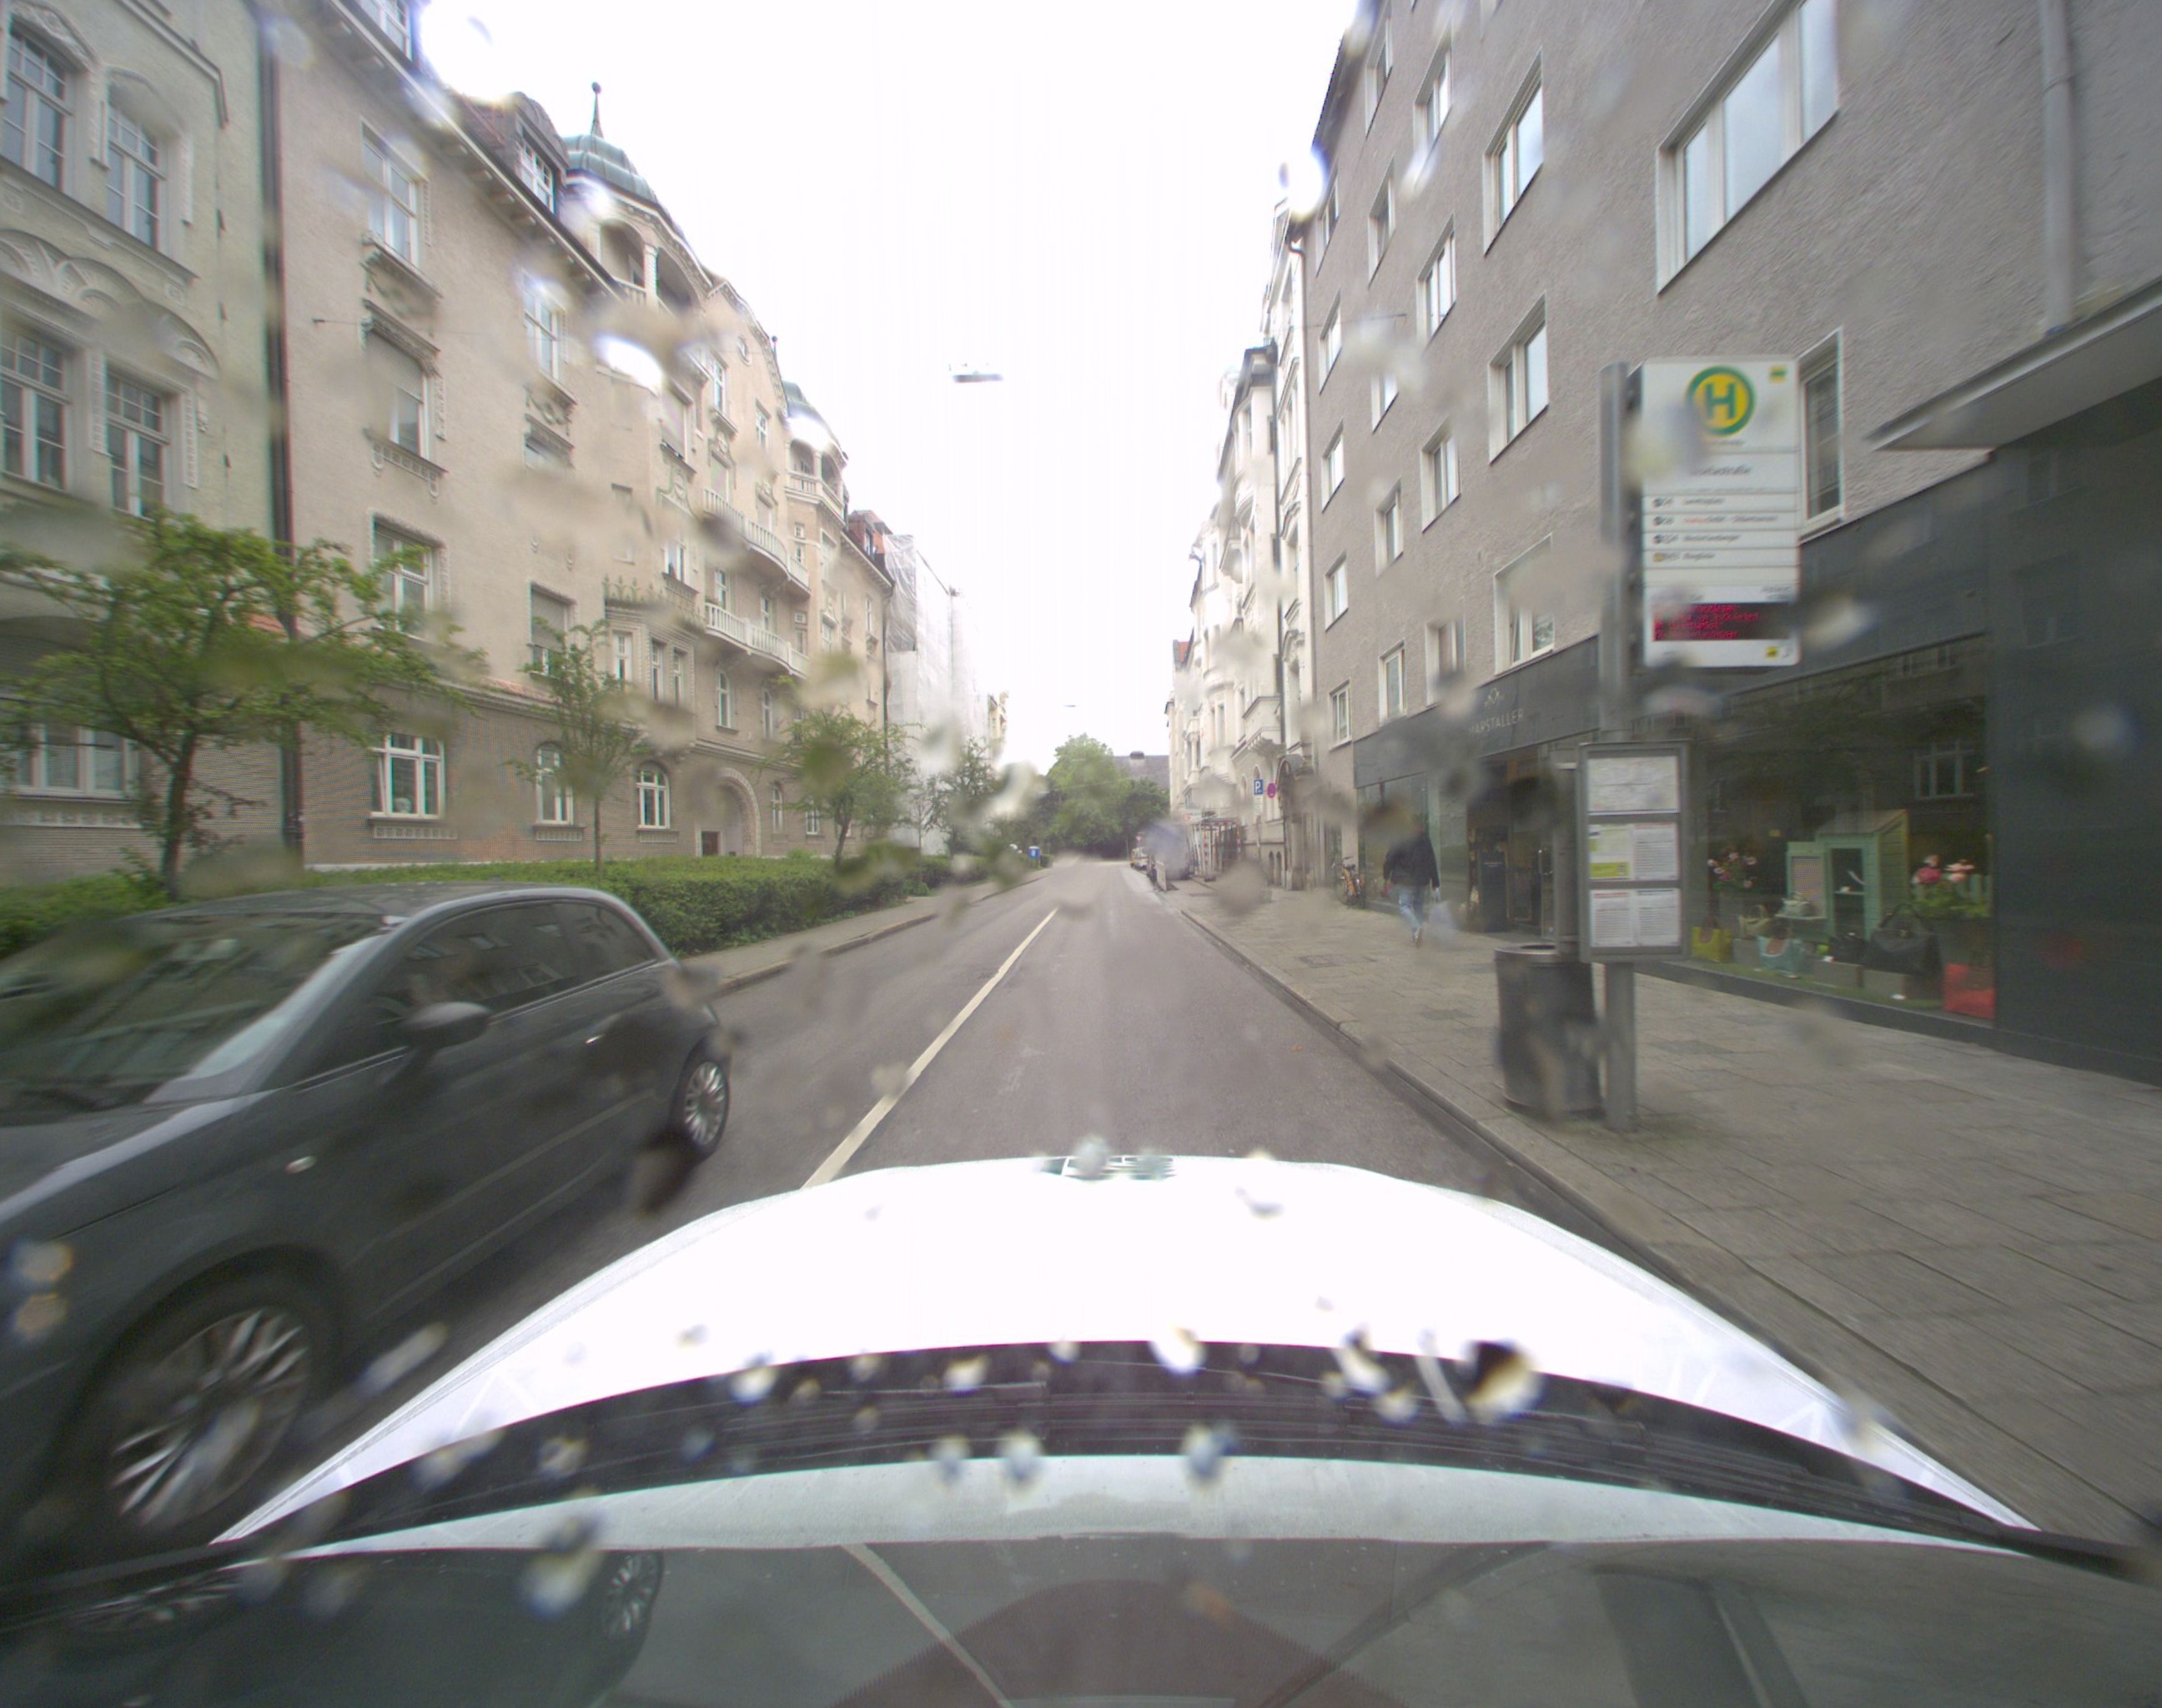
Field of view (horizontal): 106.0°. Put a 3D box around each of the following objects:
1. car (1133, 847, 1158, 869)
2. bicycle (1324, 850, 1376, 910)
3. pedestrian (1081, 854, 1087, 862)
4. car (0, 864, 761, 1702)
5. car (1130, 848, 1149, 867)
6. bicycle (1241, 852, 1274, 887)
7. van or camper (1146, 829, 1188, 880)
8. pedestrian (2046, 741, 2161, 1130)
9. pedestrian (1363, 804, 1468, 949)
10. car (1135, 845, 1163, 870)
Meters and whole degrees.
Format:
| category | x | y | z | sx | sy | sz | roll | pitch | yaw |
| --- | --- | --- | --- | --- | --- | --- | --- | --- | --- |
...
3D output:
| category | x | y | z | sx | sy | sz | roll | pitch | yaw |
| --- | --- | --- | --- | --- | --- | --- | --- | --- | --- |
| car | 6.022 | 0.329 | 76.810 | 1.953 | 1.937 | 4.993 | -2 | 0 | 1 |
| bicycle | 6.043 | 0.555 | 18.389 | 0.510 | 1.260 | 1.820 | -5 | 0 | 2 |
| pedestrian | 0.435 | 0.654 | 129.518 | 0.807 | 1.189 | 0.921 | -2 | 0 | 8 |
| car | -2.736 | 0.829 | 2.865 | 1.578 | 1.479 | 3.784 | -2 | 0 | 2 |
| car | 6.361 | 0.357 | 87.918 | 1.841 | 1.853 | 4.828 | -2 | 0 | 5 |
| bicycle | 6.585 | 0.557 | 30.422 | 0.658 | 1.206 | 1.920 | -5 | 0 | -2 |
| van or camper | 4.798 | 0.042 | 46.036 | 1.946 | 2.637 | 5.462 | -2 | 0 | 2 |
| pedestrian | 5.148 | 0.355 | 3.654 | 0.699 | 1.733 | 0.746 | -2 | 0 | 2 |
| pedestrian | 4.725 | 0.301 | 11.598 | 0.924 | 1.910 | 1.179 | -4 | 0 | 1 |
| car | 5.852 | 0.304 | 70.640 | 1.953 | 2.013 | 4.993 | -2 | 0 | 1 |
